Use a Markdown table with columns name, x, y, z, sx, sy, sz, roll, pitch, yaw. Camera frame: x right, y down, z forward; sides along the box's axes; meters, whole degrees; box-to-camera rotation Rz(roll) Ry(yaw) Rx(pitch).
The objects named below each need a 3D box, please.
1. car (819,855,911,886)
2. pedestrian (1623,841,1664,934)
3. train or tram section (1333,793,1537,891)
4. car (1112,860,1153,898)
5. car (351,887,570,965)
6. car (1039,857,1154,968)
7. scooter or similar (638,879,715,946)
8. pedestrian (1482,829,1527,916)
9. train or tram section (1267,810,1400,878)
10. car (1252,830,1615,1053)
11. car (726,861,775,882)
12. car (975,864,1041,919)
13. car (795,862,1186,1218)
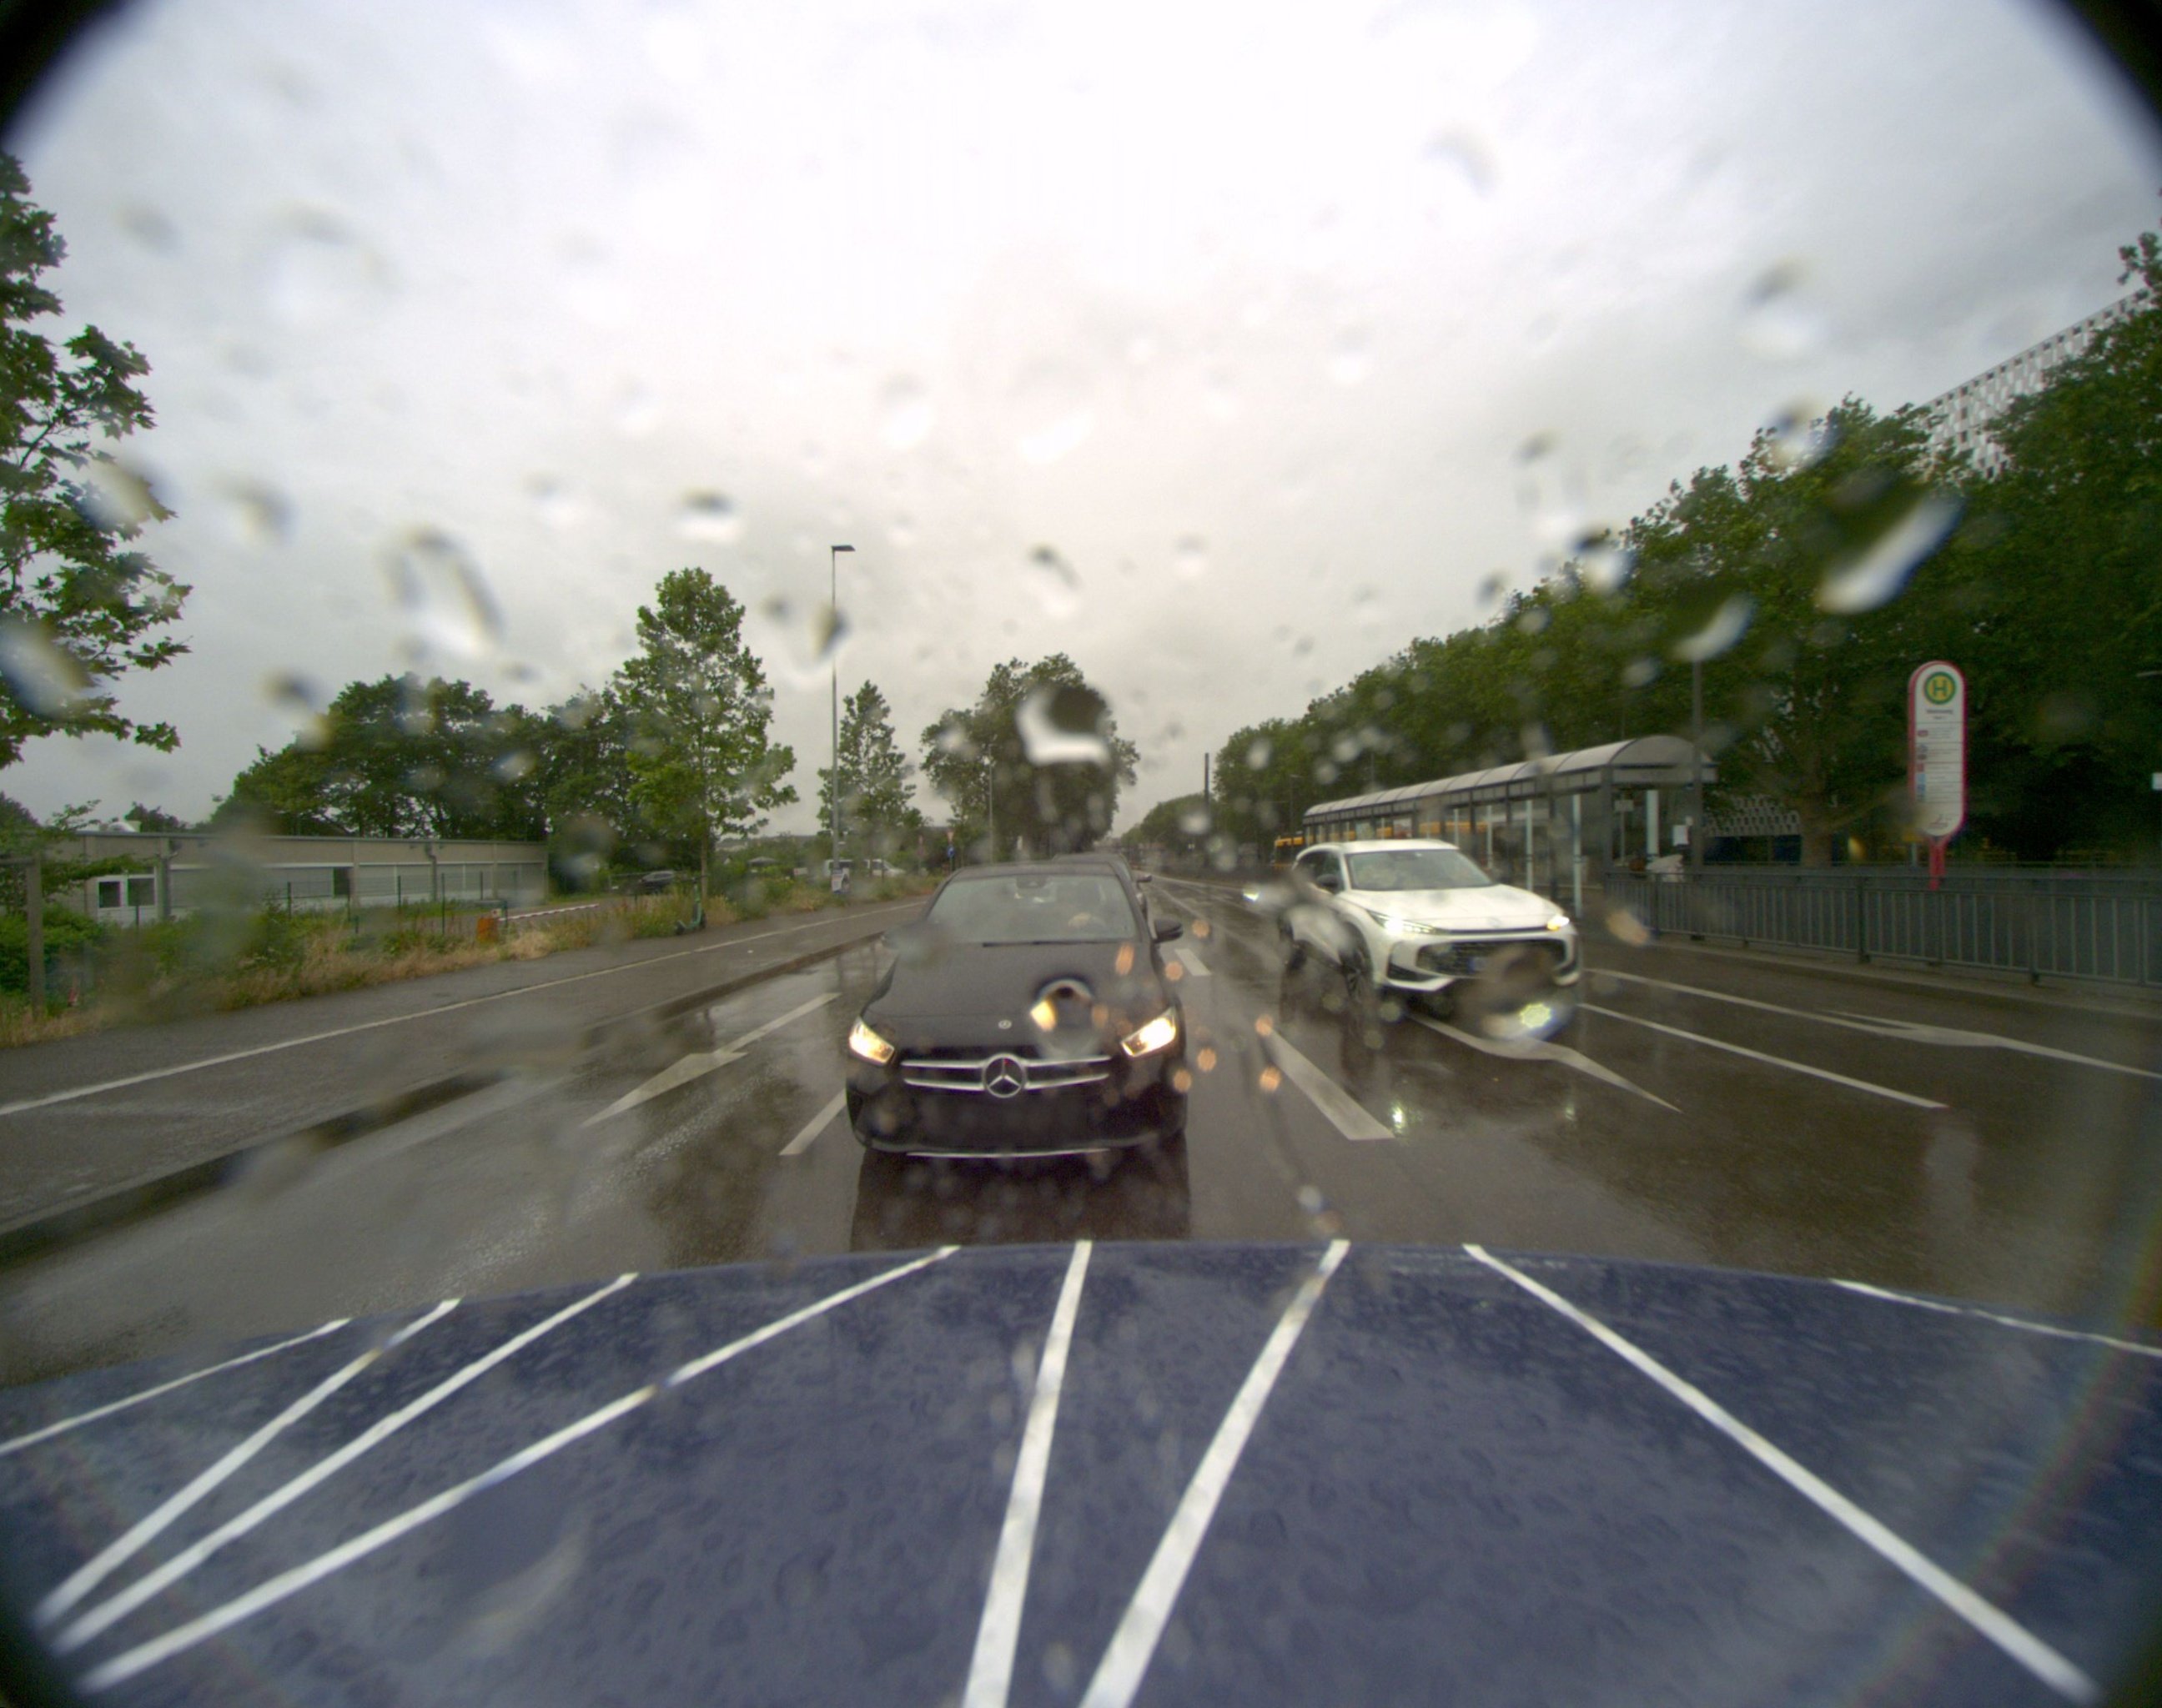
| name | x | y | z | sx | sy | sz | roll | pitch | yaw |
| --- | --- | --- | --- | --- | --- | --- | --- | --- | --- |
| car | -13.633 | 1.014 | 48.091 | 5.174 | 1.715 | 2.006 | -3 | 1 | -1 |
| pedestrian | 9.193 | 0.544 | 12.426 | 0.321 | 1.485 | 0.415 | -3 | 2 | 6 |
| train or tram section | 16.622 | -0.521 | 37.558 | 3.751 | 3.817 | 13.253 | -3 | 0 | 0 |
| car | 2.292 | 1.110 | 34.594 | 1.557 | 1.541 | 3.717 | -3 | 0 | 0 |
| car | -12.026 | 1.377 | 14.809 | 3.243 | 1.281 | 1.345 | -3 | 1 | 6 |
| car | 0.284 | 0.876 | 13.245 | 1.689 | 1.611 | 4.000 | -1 | 0 | 2 |
| scooter or similar | -8.188 | 1.156 | 15.469 | 0.367 | 1.192 | 1.913 | -2 | 1 | 4 |
| pedestrian | 9.260 | 0.394 | 16.646 | 0.655 | 1.860 | 0.773 | -2 | 1 | 17 |
| train or tram section | 16.611 | -0.628 | 52.006 | 3.751 | 3.777 | 15.569 | -3 | 0 | 0 |
| car | 3.437 | 0.709 | 8.598 | 1.935 | 1.765 | 4.663 | -3 | 0 | 1 |
| car | -28.233 | 1.477 | 65.003 | 3.552 | 1.574 | 1.345 | -3 | 1 | 6 |
| car | -2.200 | 1.094 | 23.688 | 1.557 | 1.500 | 3.618 | -2 | 0 | 1 |
| car | -0.240 | 0.886 | 5.545 | 1.758 | 1.572 | 4.171 | -2 | 0 | 5 |
